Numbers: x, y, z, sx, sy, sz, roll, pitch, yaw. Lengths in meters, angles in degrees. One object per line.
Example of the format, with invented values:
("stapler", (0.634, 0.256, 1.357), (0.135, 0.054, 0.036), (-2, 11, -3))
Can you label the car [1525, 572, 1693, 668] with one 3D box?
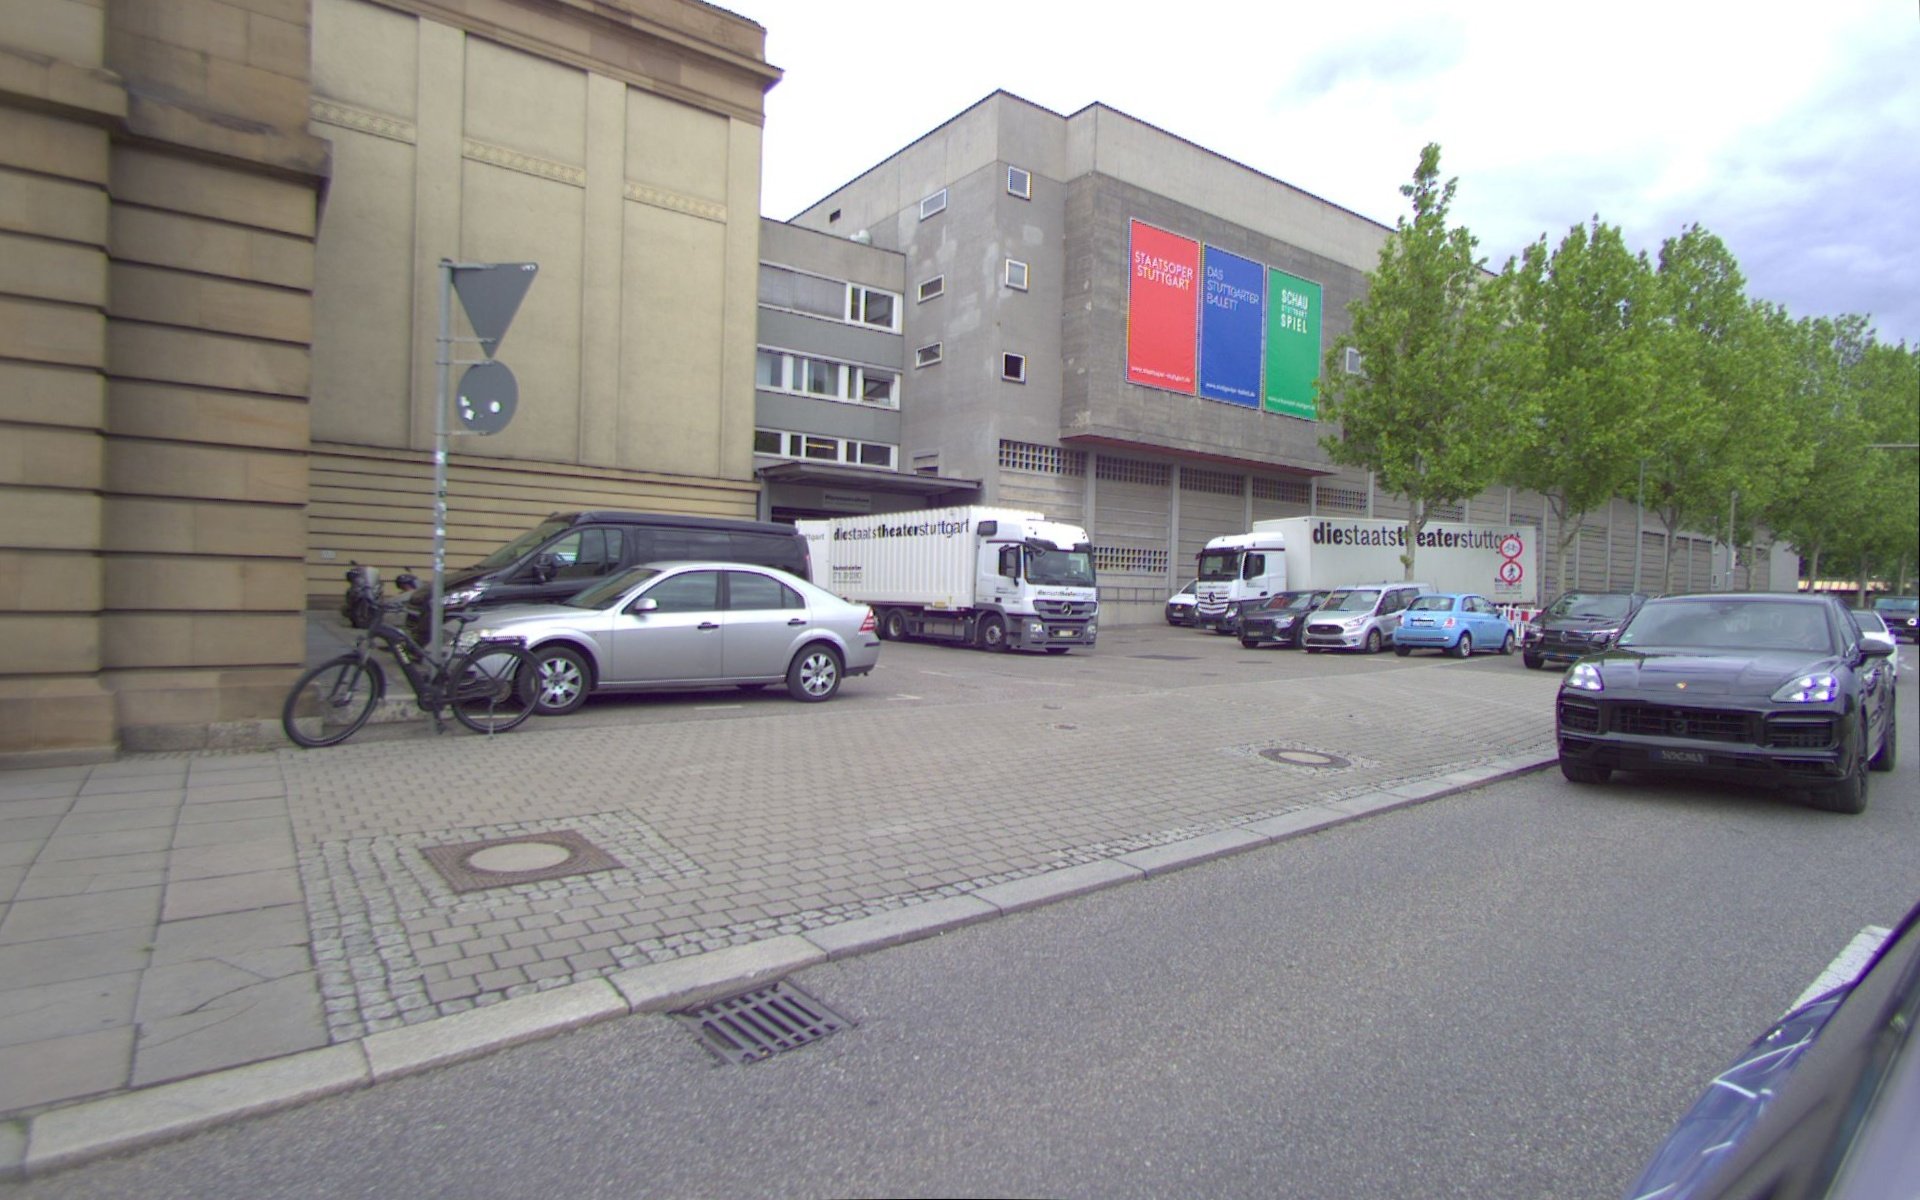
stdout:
("car", (13.342, 0.391, 20.702), (4.408, 1.760, 1.807), (1, -1, -42))

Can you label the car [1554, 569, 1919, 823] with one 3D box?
("car", (6.903, 0.625, 8.802), (4.129, 1.678, 1.905), (0, 0, -43))

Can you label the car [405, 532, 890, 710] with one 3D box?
("car", (-3.089, 0.199, 10.550), (4.491, 1.488, 1.782), (1, 0, -38))

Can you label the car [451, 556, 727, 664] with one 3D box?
("car", (-5.495, 0.146, 15.170), (3.550, 1.431, 1.647), (1, 0, -38))

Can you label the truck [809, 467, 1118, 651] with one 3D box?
("truck", (-0.407, -1.130, 28.415), (2.943, 4.257, 10.385), (1, 2, -37))

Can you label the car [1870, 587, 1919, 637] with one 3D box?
("car", (39.465, 0.493, 41.829), (4.317, 1.950, 1.953), (0, 1, -37))

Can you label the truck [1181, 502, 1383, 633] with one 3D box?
("truck", (11.129, -1.049, 34.909), (6.442, 4.136, 3.145), (0, 0, -30))

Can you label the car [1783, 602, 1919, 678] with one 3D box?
("car", (18.624, 0.753, 20.895), (3.931, 1.393, 1.933), (0, 0, -41))

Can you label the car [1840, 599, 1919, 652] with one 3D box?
("car", (27.980, 0.728, 30.532), (3.558, 1.492, 1.611), (0, 1, -40))

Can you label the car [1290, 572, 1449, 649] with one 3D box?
("car", (10.591, 0.266, 26.054), (4.538, 1.807, 1.808), (0, -2, -39))

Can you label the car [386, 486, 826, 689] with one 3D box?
("car", (-4.282, -0.105, 12.689), (4.826, 2.095, 1.953), (1, 0, -38))

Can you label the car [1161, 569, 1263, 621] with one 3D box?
("car", (9.652, -0.193, 38.596), (3.923, 1.905, 1.560), (0, 0, -34))

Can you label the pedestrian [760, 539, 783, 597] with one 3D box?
("pedestrian", (-6.184, -1.037, 33.170), (0.518, 1.845, 0.764), (0, -1, -28))

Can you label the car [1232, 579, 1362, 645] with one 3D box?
("car", (9.334, 0.302, 27.943), (3.694, 1.710, 1.718), (0, 0, -39))

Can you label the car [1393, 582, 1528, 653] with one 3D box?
("car", (11.812, 0.377, 23.837), (3.440, 1.549, 1.583), (0, 0, -39))

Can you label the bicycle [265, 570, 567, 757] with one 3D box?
("bicycle", (-4.090, 0.430, 7.716), (1.928, 1.239, 0.610), (0, 4, -40))

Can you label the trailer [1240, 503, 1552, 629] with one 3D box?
("trailer", (16.662, -1.150, 37.976), (13.693, 4.153, 3.161), (0, -1, -30))
